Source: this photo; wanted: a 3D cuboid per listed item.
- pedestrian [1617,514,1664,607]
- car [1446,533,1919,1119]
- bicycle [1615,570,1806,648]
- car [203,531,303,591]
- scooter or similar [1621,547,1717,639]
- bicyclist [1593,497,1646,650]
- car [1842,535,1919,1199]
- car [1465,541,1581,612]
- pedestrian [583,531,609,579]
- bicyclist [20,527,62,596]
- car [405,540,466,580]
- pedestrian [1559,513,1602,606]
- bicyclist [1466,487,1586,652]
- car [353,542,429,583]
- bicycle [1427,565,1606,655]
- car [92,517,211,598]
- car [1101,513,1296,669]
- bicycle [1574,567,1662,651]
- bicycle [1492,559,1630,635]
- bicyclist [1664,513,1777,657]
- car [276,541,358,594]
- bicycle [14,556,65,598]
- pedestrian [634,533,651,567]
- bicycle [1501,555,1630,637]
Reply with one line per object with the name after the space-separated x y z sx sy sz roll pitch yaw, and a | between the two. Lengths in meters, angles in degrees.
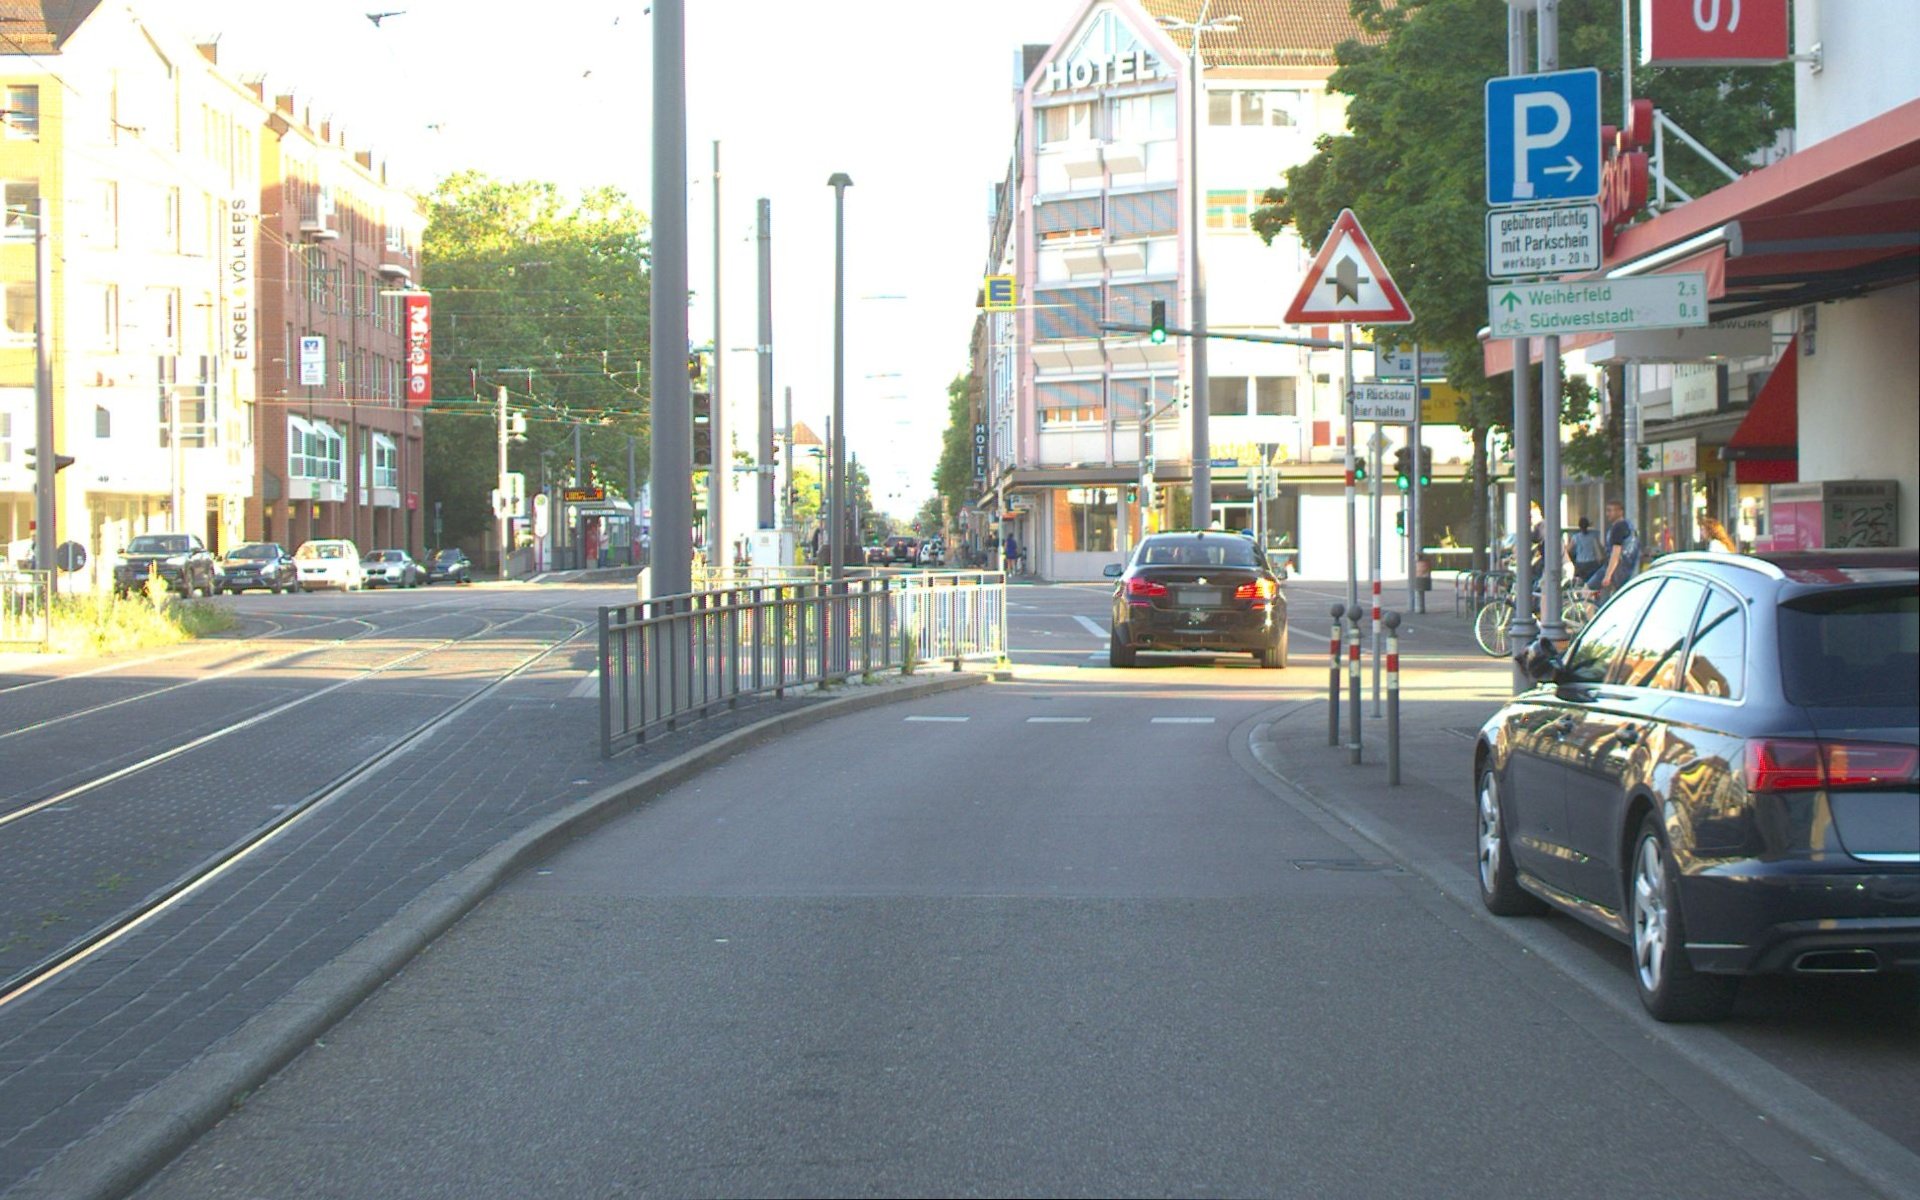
12.248 -0.719 61.901 0.723 1.661 0.671 0 1 3 | pedestrian
2.852 0.559 11.505 1.735 1.507 4.686 -2 1 0 | car
8.588 0.096 39.330 2.008 0.878 0.839 0 1 23 | bicycle
-19.389 -1.082 94.408 1.993 1.579 4.588 -1 1 -3 | car
9.631 -0.102 46.715 1.277 1.231 0.337 1 1 42 | scooter or similar
7.950 -0.324 41.463 0.464 1.824 0.559 0 1 -9 | bicyclist
3.029 0.615 6.211 1.785 1.507 4.052 -2 1 0 | car
12.900 -0.559 78.991 1.993 1.546 4.000 -1 1 0 | car
-15.431 -1.922 145.698 0.988 2.007 0.726 1 1 -2 | pedestrian
-22.612 -0.941 84.621 0.662 1.683 0.979 0 1 7 | bicyclist
-21.211 -1.644 139.096 1.993 1.579 4.480 -1 1 -3 | car
11.104 -0.724 61.529 0.684 1.661 0.671 0 1 3 | pedestrian
6.649 -0.366 40.415 0.838 1.910 1.115 -1 1 -37 | bicyclist
-20.783 -1.384 125.623 1.669 1.443 4.201 0 1 6 | car
6.545 0.105 40.549 0.838 1.016 2.077 -1 1 -37 | bicycle
-19.692 -1.048 83.965 1.993 1.895 4.812 -1 1 -3 | car
2.610 -0.135 37.471 1.994 1.579 4.000 -1 1 4 | car
7.940 0.102 41.528 0.464 0.967 1.801 0 1 -9 | bicycle
8.944 -0.049 51.158 1.997 1.107 0.668 0 1 13 | bicycle
8.691 -0.181 39.279 1.112 1.617 0.839 0 1 23 | bicyclist
-19.953 -1.025 106.816 1.993 1.579 4.114 -1 1 -3 | car
-22.618 -0.563 84.499 0.666 1.005 1.622 0 1 6 | bicycle
-15.748 -2.501 170.598 0.723 1.675 0.991 0 1 2 | pedestrian
9.175 -0.063 52.111 1.905 1.231 0.668 0 1 11 | bicycle
